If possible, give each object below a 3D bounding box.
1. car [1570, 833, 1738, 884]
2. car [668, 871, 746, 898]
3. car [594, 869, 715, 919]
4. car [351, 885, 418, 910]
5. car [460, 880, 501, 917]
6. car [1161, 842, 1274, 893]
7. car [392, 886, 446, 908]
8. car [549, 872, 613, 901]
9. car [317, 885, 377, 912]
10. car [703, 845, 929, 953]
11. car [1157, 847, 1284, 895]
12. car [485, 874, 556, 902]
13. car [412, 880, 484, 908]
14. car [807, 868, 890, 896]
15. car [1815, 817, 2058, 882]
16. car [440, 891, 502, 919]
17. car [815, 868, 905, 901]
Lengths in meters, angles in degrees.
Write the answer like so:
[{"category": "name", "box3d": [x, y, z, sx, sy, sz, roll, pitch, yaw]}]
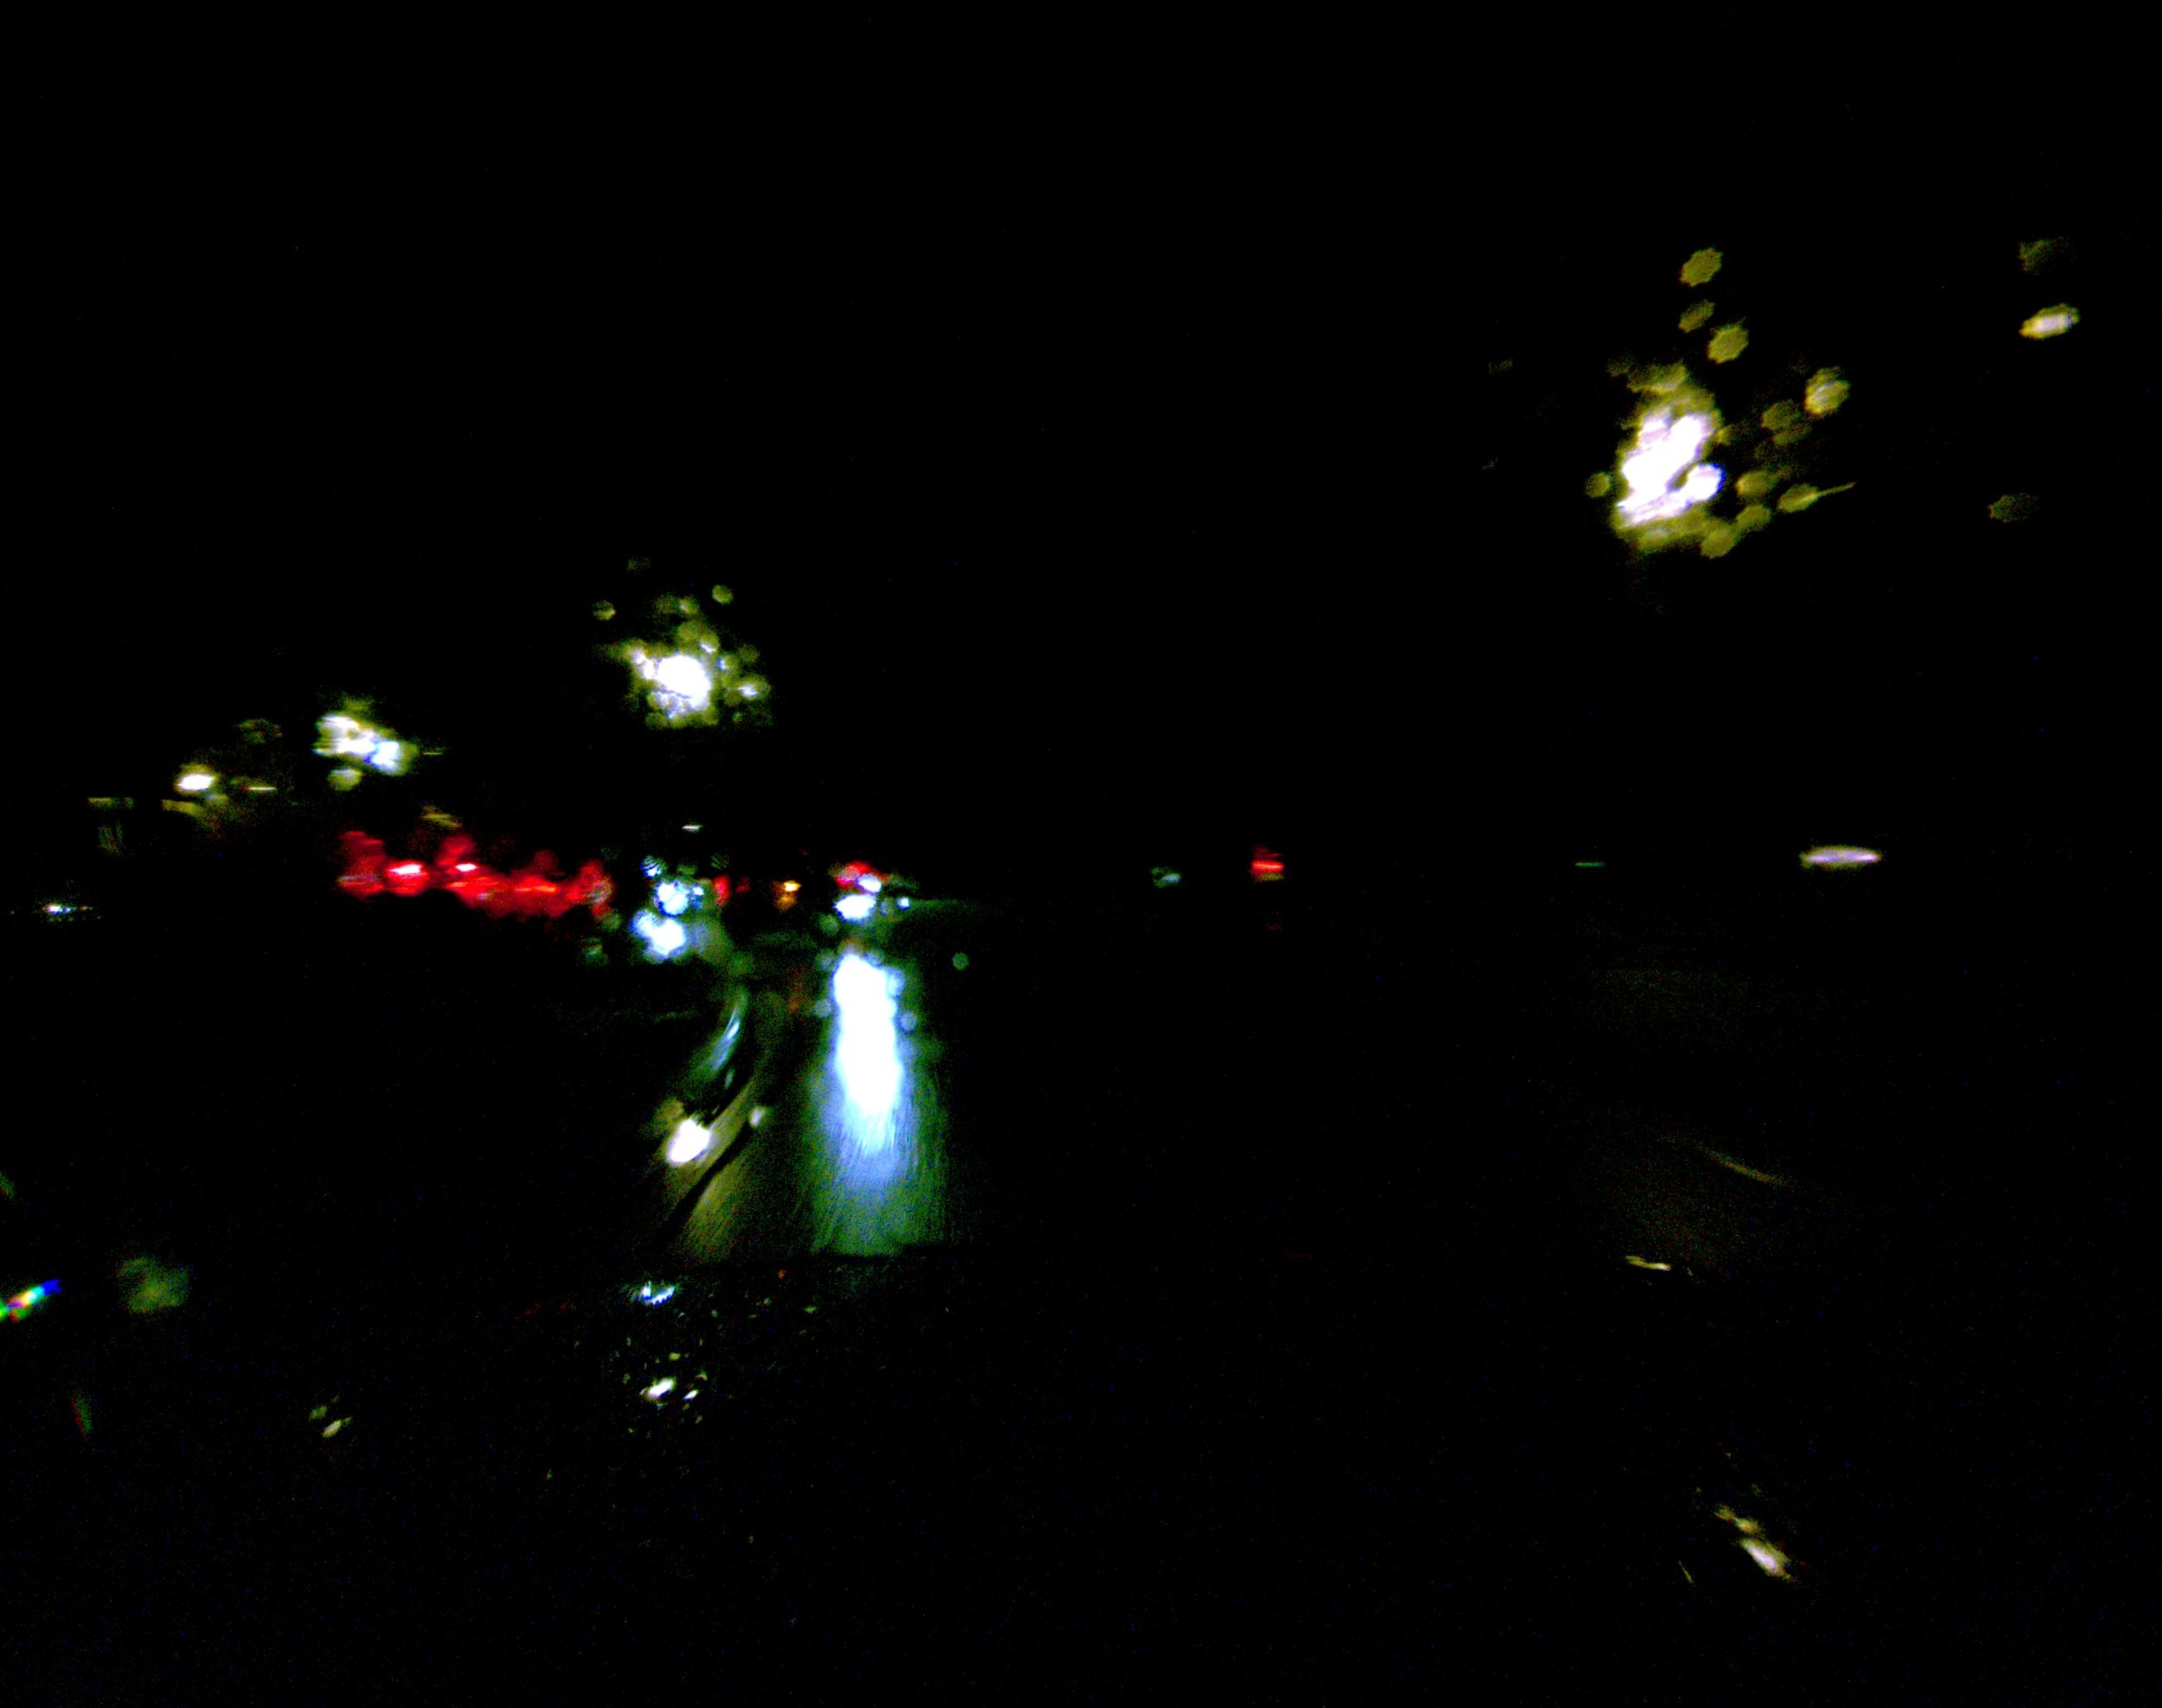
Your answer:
[{"category": "car", "box3d": [18.501, 0.152, 24.801, 4.086, 1.448, 1.857, -3, 0, 27]}, {"category": "car", "box3d": [-22.607, 1.825, 45.951, 4.521, 1.529, 1.862, -1, -2, 27]}, {"category": "car", "box3d": [-16.015, 1.509, 28.506, 4.126, 1.639, 1.835, -3, 0, 25]}, {"category": "car", "box3d": [-45.949, 2.881, 50.115, 4.401, 1.475, 1.785, -3, 1, 28]}, {"category": "car", "box3d": [-48.987, 3.582, 62.036, 2.260, 2.694, 5.594, -2, 1, -35]}, {"category": "car", "box3d": [5.657, 0.568, 31.539, 4.195, 1.881, 1.771, -3, 0, 27]}, {"category": "car", "box3d": [-49.411, 3.209, 56.717, 4.047, 1.478, 1.721, -1, 1, 29]}, {"category": "car", "box3d": [-34.087, 2.163, 51.768, 4.114, 1.837, 1.768, -1, 1, 27]}, {"category": "car", "box3d": [-51.367, 3.099, 53.134, 3.892, 1.715, 1.768, -3, 1, 27]}, {"category": "car", "box3d": [-5.524, 0.892, 15.722, 4.358, 1.914, 2.008, -3, 1, 31]}, {"category": "car", "box3d": [5.166, 0.676, 28.204, 4.233, 1.598, 1.791, -3, -3, 28]}, {"category": "car", "box3d": [-36.205, 2.176, 49.068, 4.476, 1.656, 1.807, -1, 1, 27]}, {"category": "car", "box3d": [-39.418, 2.512, 47.287, 4.295, 1.568, 1.822, -2, -1, 26]}, {"category": "car", "box3d": [-11.185, 1.340, 36.522, 3.606, 1.196, 1.651, -3, 0, 26]}, {"category": "car", "box3d": [21.901, -0.100, 19.681, 3.810, 1.440, 1.672, -3, 1, 27]}, {"category": "car", "box3d": [-41.798, 3.463, 52.039, 3.966, 1.656, 1.807, -1, 1, 27]}, {"category": "car", "box3d": [-11.776, 1.616, 40.408, 4.420, 1.521, 1.893, -3, 0, 27]}]
